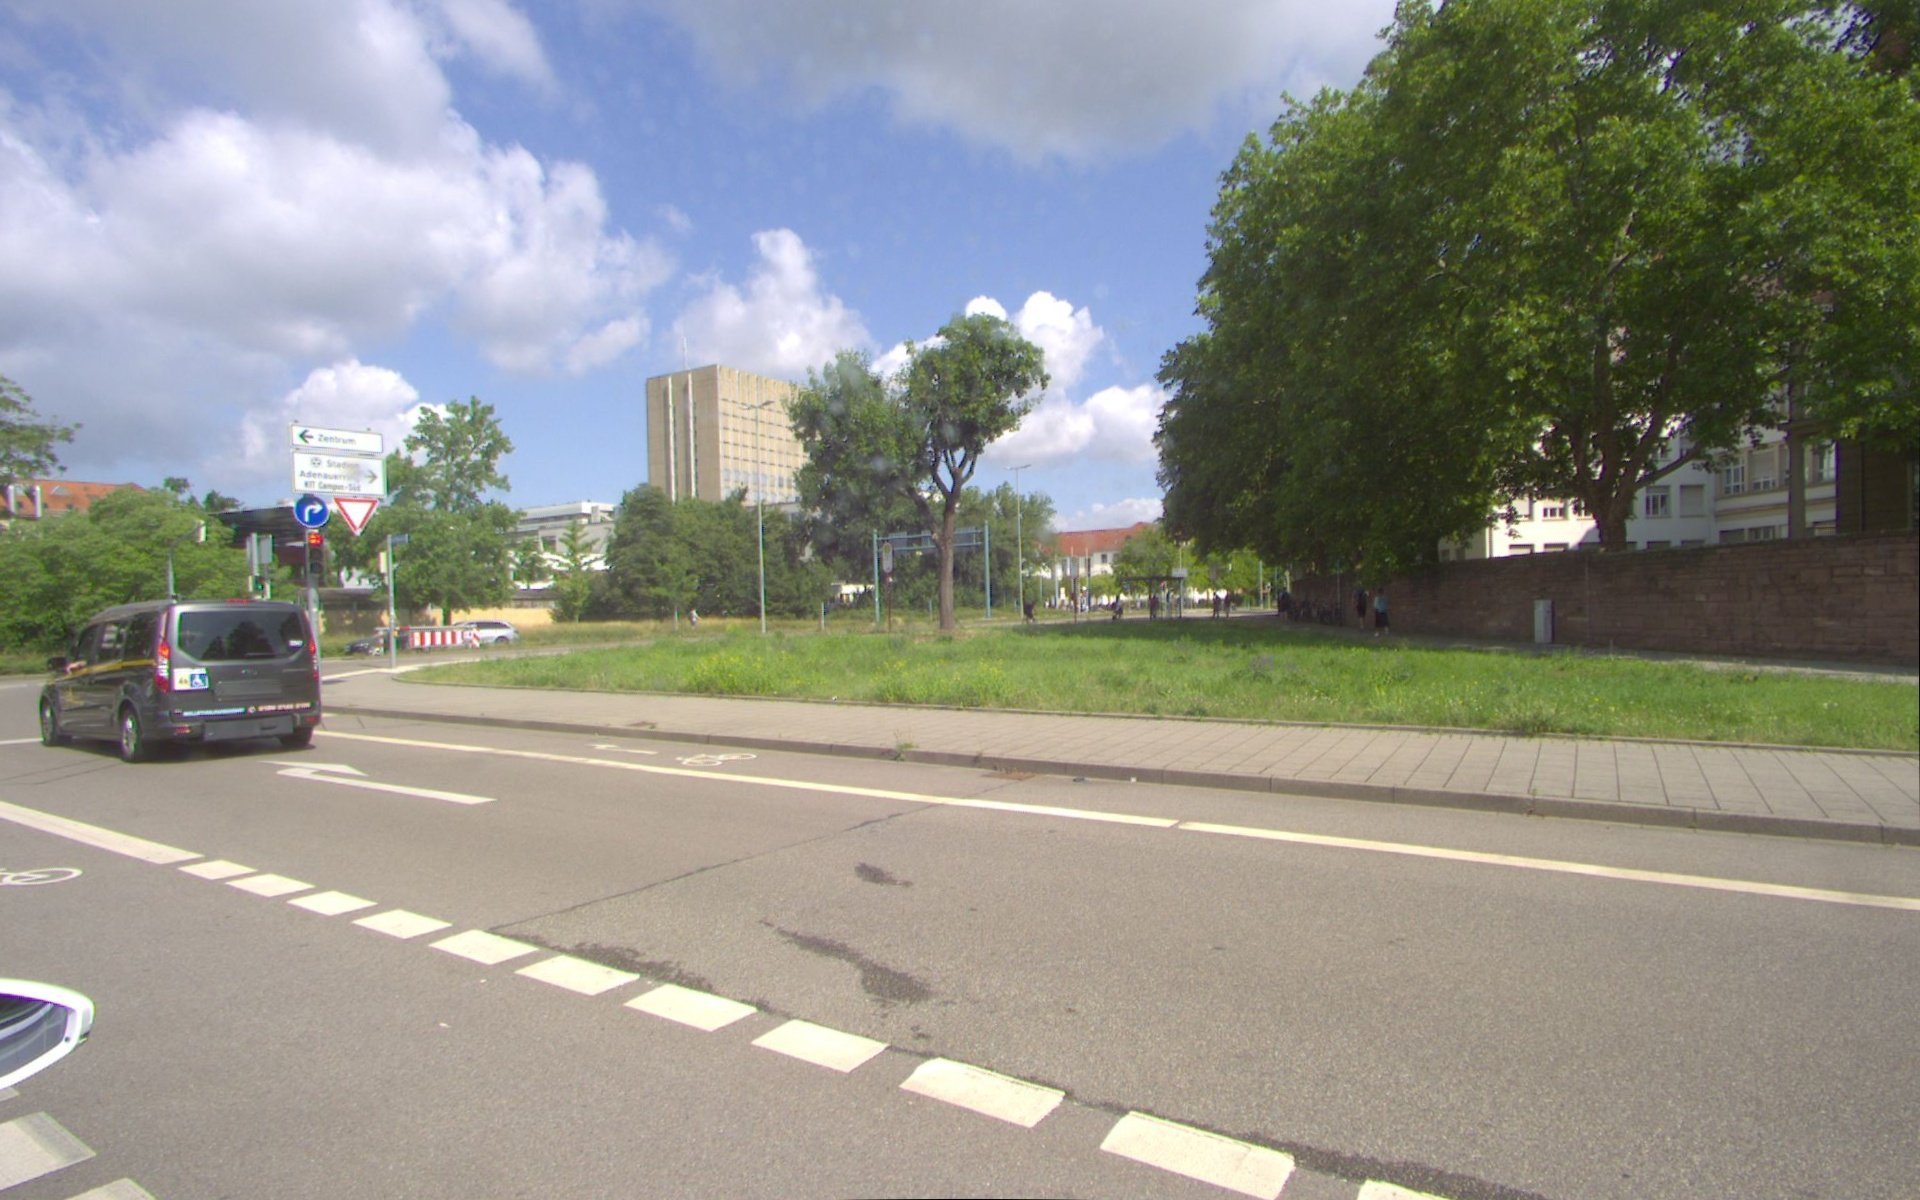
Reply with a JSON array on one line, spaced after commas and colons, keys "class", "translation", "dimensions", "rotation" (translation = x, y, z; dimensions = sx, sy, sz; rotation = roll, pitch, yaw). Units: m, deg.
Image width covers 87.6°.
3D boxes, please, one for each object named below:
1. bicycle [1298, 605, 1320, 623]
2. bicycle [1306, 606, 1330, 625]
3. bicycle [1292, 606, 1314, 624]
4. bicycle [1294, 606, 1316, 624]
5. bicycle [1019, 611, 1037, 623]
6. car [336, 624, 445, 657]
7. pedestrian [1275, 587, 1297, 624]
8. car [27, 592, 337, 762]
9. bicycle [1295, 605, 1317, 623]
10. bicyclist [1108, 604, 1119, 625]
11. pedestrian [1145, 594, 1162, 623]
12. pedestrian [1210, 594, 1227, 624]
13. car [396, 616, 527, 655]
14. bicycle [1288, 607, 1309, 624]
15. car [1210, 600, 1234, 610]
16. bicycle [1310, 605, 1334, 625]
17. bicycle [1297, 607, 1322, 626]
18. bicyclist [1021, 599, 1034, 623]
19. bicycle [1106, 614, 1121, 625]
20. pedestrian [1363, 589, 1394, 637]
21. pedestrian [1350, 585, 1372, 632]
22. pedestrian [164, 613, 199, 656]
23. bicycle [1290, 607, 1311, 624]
[{"class": "bicycle", "translation": [16.856, 0.678, 48.383], "dimensions": [0.955, 0.860, 0.482], "rotation": [-1, 1, 11]}, {"class": "bicycle", "translation": [16.171, 0.695, 45.254], "dimensions": [0.955, 0.860, 0.482], "rotation": [-1, 1, 11]}, {"class": "bicycle", "translation": [17.227, 0.748, 50.329], "dimensions": [0.955, 0.860, 0.482], "rotation": [-1, 1, 11]}, {"class": "bicycle", "translation": [17.112, 0.723, 49.660], "dimensions": [0.955, 0.860, 0.482], "rotation": [-1, 1, 11]}, {"class": "bicycle", "translation": [4.134, 1.035, 60.728], "dimensions": [0.541, 0.707, 1.584], "rotation": [-1, 1, 27]}, {"class": "car", "translation": [-27.528, 1.905, 48.501], "dimensions": [1.973, 1.395, 4.135], "rotation": [0, 0, 34]}, {"class": "pedestrian", "translation": [16.154, 0.273, 49.645], "dimensions": [0.870, 1.804, 0.770], "rotation": [-1, 1, 10]}, {"class": "car", "translation": [-9.992, 0.875, 12.745], "dimensions": [4.608, 1.808, 1.844], "rotation": [-1, -1, 35]}, {"class": "bicycle", "translation": [16.951, 0.703, 49.116], "dimensions": [0.955, 0.860, 0.482], "rotation": [-1, 1, 11]}, {"class": "bicyclist", "translation": [10.803, 1.041, 70.592], "dimensions": [0.552, 1.433, 0.604], "rotation": [-1, 1, 28]}, {"class": "pedestrian", "translation": [12.019, 0.527, 62.194], "dimensions": [0.738, 1.803, 0.961], "rotation": [-2, 0, 28]}, {"class": "pedestrian", "translation": [16.267, 0.565, 62.981], "dimensions": [0.739, 1.803, 0.766], "rotation": [-2, 0, 33]}, {"class": "car", "translation": [-21.940, 1.530, 44.239], "dimensions": [2.037, 1.460, 4.746], "rotation": [-4, -2, 37]}, {"class": "bicycle", "translation": [17.421, 0.792, 51.521], "dimensions": [0.955, 0.860, 0.482], "rotation": [-1, 1, 11]}, {"class": "car", "translation": [35.942, 0.676, 137.322], "dimensions": [1.777, 1.289, 3.968], "rotation": [-1, 0, 40]}, {"class": "bicycle", "translation": [16.115, 0.649, 44.571], "dimensions": [0.955, 0.860, 0.482], "rotation": [-1, 1, 11]}, {"class": "bicycle", "translation": [16.621, 0.771, 47.588], "dimensions": [1.053, 0.860, 0.499], "rotation": [-1, 1, 11]}, {"class": "bicyclist", "translation": [4.112, 0.680, 60.694], "dimensions": [0.552, 1.433, 0.604], "rotation": [-1, 1, 28]}, {"class": "bicycle", "translation": [10.833, 1.396, 70.640], "dimensions": [0.541, 0.707, 1.584], "rotation": [-1, 1, 28]}, {"class": "pedestrian", "translation": [14.084, 0.443, 33.689], "dimensions": [0.712, 1.554, 0.724], "rotation": [-2, 0, 2]}, {"class": "pedestrian", "translation": [15.064, 0.324, 37.649], "dimensions": [0.651, 1.746, 0.741], "rotation": [-1, 1, 14]}, {"class": "pedestrian", "translation": [-34.521, 1.529, 44.409], "dimensions": [1.161, 1.882, 0.697], "rotation": [-1, 1, 22]}, {"class": "bicycle", "translation": [17.334, 0.773, 50.972], "dimensions": [0.955, 0.860, 0.482], "rotation": [-1, 1, 11]}]
